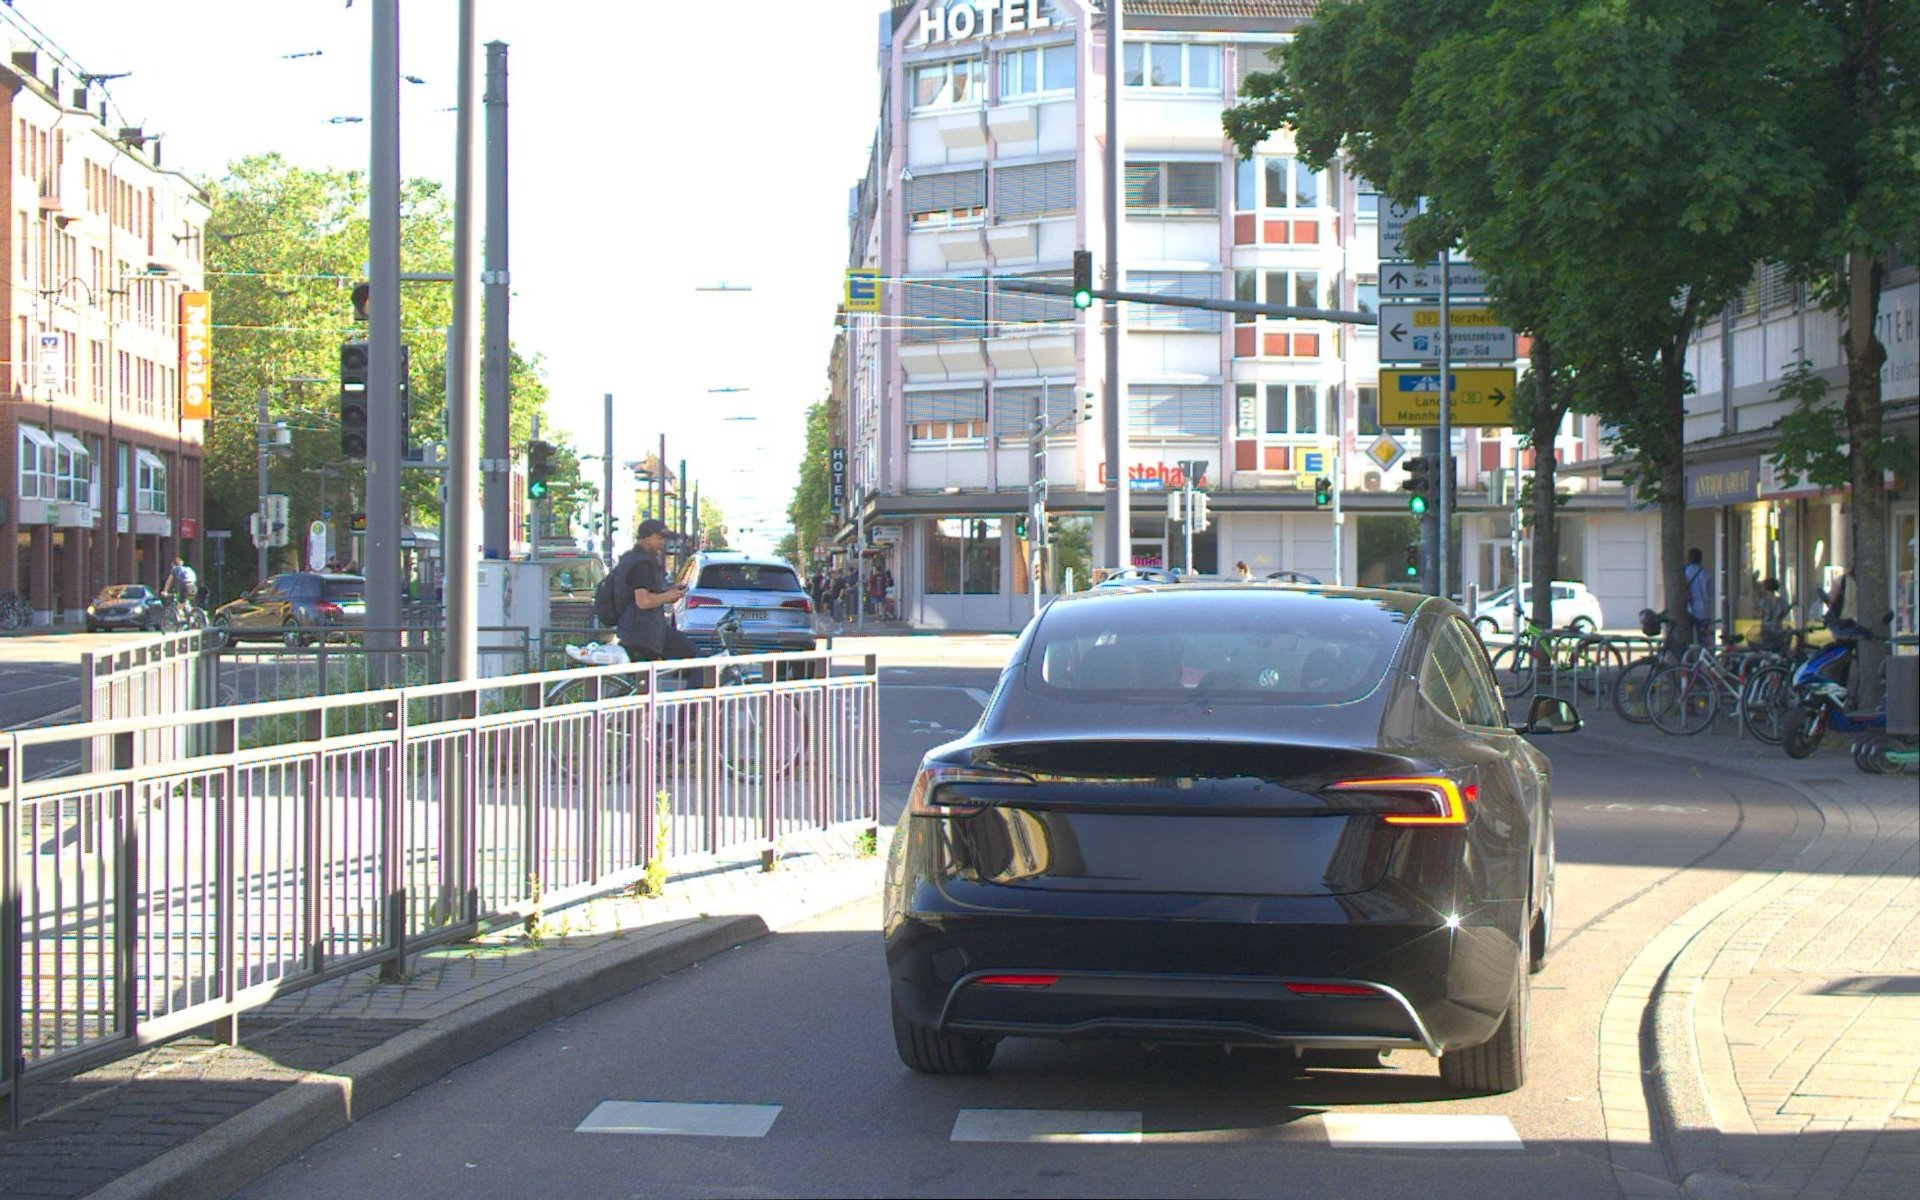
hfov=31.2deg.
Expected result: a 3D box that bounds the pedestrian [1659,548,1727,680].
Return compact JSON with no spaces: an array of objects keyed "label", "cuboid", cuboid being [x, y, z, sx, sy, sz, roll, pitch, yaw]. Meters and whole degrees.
[{"label":"pedestrian","cuboid":[9.669,0.182,45.350,0.843,1.715,0.879,1,0,12]}]

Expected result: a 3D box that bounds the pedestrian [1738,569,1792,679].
[{"label":"pedestrian","cuboid":[10.480,0.313,44.771,0.645,1.417,0.621,1,0,11]}]

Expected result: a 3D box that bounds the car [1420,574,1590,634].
[{"label":"car","cuboid":[13.583,0.115,85.797,3.840,1.427,1.804,0,-2,-6]}]

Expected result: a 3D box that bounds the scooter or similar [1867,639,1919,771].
[{"label":"scooter or similar","cuboid":[7.561,0.814,26.737,0.964,1.023,0.160,0,0,2]}]

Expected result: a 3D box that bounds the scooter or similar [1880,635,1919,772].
[{"label":"scooter or similar","cuboid":[7.551,0.793,26.339,0.964,1.039,0.160,0,0,2]}]

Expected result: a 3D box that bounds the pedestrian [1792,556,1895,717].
[{"label":"pedestrian","cuboid":[9.457,0.387,36.834,0.843,1.701,0.880,1,0,-1]}]

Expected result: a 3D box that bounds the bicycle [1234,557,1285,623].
[{"label":"bicycle","cuboid":[6.723,-0.230,77.268,0.582,1.458,1.686,0,1,-16]}]

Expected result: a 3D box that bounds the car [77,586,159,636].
[{"label":"car","cuboid":[-25.266,0.318,103.214,1.817,1.449,3.978,-1,0,-6]}]

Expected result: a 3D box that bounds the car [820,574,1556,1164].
[{"label":"car","cuboid":[0.907,0.671,10.876,1.791,1.446,3.938,1,1,11]}]

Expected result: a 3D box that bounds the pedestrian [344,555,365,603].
[{"label":"pedestrian","cuboid":[-19.129,-0.662,108.616,0.583,1.525,0.637,1,0,-18]}]

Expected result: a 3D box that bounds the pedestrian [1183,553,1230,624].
[{"label":"pedestrian","cuboid":[5.533,-0.263,77.106,0.779,1.571,0.868,1,1,-15]}]

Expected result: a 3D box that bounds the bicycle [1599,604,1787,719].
[{"label":"bicycle","cuboid":[7.407,0.615,34.770,1.809,1.147,0.435,0,0,-4]}]

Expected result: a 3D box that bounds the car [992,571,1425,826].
[{"label":"car","cuboid":[1.469,0.554,22.140,1.764,1.439,4.530,1,1,-9]}]

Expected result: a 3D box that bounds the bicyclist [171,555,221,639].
[{"label":"bicyclist","cuboid":[-16.149,-0.067,72.659,0.829,1.766,0.613,1,0,32]}]

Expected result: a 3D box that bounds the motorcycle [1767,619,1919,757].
[{"label":"motorcycle","cuboid":[7.683,0.735,28.646,1.787,1.126,0.504,1,0,-3]}]

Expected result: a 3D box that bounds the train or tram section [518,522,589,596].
[{"label":"train or tram section","cuboid":[-20.019,-1.974,169.844,2.729,3.530,10.087,1,0,-3]}]

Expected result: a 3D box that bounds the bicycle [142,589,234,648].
[{"label":"bicycle","cuboid":[-16.351,0.386,72.787,2.038,1.219,0.627,1,0,32]}]

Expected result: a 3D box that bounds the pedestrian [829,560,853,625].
[{"label":"pedestrian","cuboid":[-3.252,-0.200,94.173,0.626,1.776,0.918,1,0,-3]}]

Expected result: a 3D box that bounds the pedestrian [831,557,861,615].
[{"label":"pedestrian","cuboid":[-3.509,-0.428,105.836,0.914,1.748,0.839,1,0,-2]}]

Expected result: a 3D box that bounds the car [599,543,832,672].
[{"label":"car","cuboid":[-3.277,0.093,45.502,1.839,1.629,3.486,1,0,-27]}]

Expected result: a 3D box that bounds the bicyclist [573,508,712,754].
[{"label":"bicyclist","cuboid":[-2.000,0.193,21.637,0.681,1.518,0.635,1,0,-24]}]

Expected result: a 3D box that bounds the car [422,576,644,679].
[{"label":"car","cuboid":[-6.963,0.429,55.906,3.781,1.612,1.574,1,0,45]}]

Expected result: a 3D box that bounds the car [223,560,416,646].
[{"label":"car","cuboid":[-11.853,0.048,63.513,3.471,1.546,1.726,1,0,42]}]

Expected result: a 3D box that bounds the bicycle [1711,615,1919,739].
[{"label":"bicycle","cuboid":[7.657,0.676,30.666,1.849,1.052,0.399,-1,0,-11]}]

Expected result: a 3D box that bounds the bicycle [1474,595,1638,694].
[{"label":"bicycle","cuboid":[7.256,0.539,41.878,1.890,1.152,0.480,-1,0,0]}]

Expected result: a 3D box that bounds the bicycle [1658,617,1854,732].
[{"label":"bicycle","cuboid":[7.579,0.705,32.772,1.767,1.053,0.458,1,0,5]}]

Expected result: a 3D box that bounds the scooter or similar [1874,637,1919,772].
[{"label":"scooter or similar","cuboid":[7.556,0.805,26.537,0.956,1.035,0.160,0,0,2]}]

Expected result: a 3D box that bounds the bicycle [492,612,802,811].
[{"label":"bicycle","cuboid":[-1.967,0.694,21.655,1.820,1.208,0.642,1,0,-24]}]
